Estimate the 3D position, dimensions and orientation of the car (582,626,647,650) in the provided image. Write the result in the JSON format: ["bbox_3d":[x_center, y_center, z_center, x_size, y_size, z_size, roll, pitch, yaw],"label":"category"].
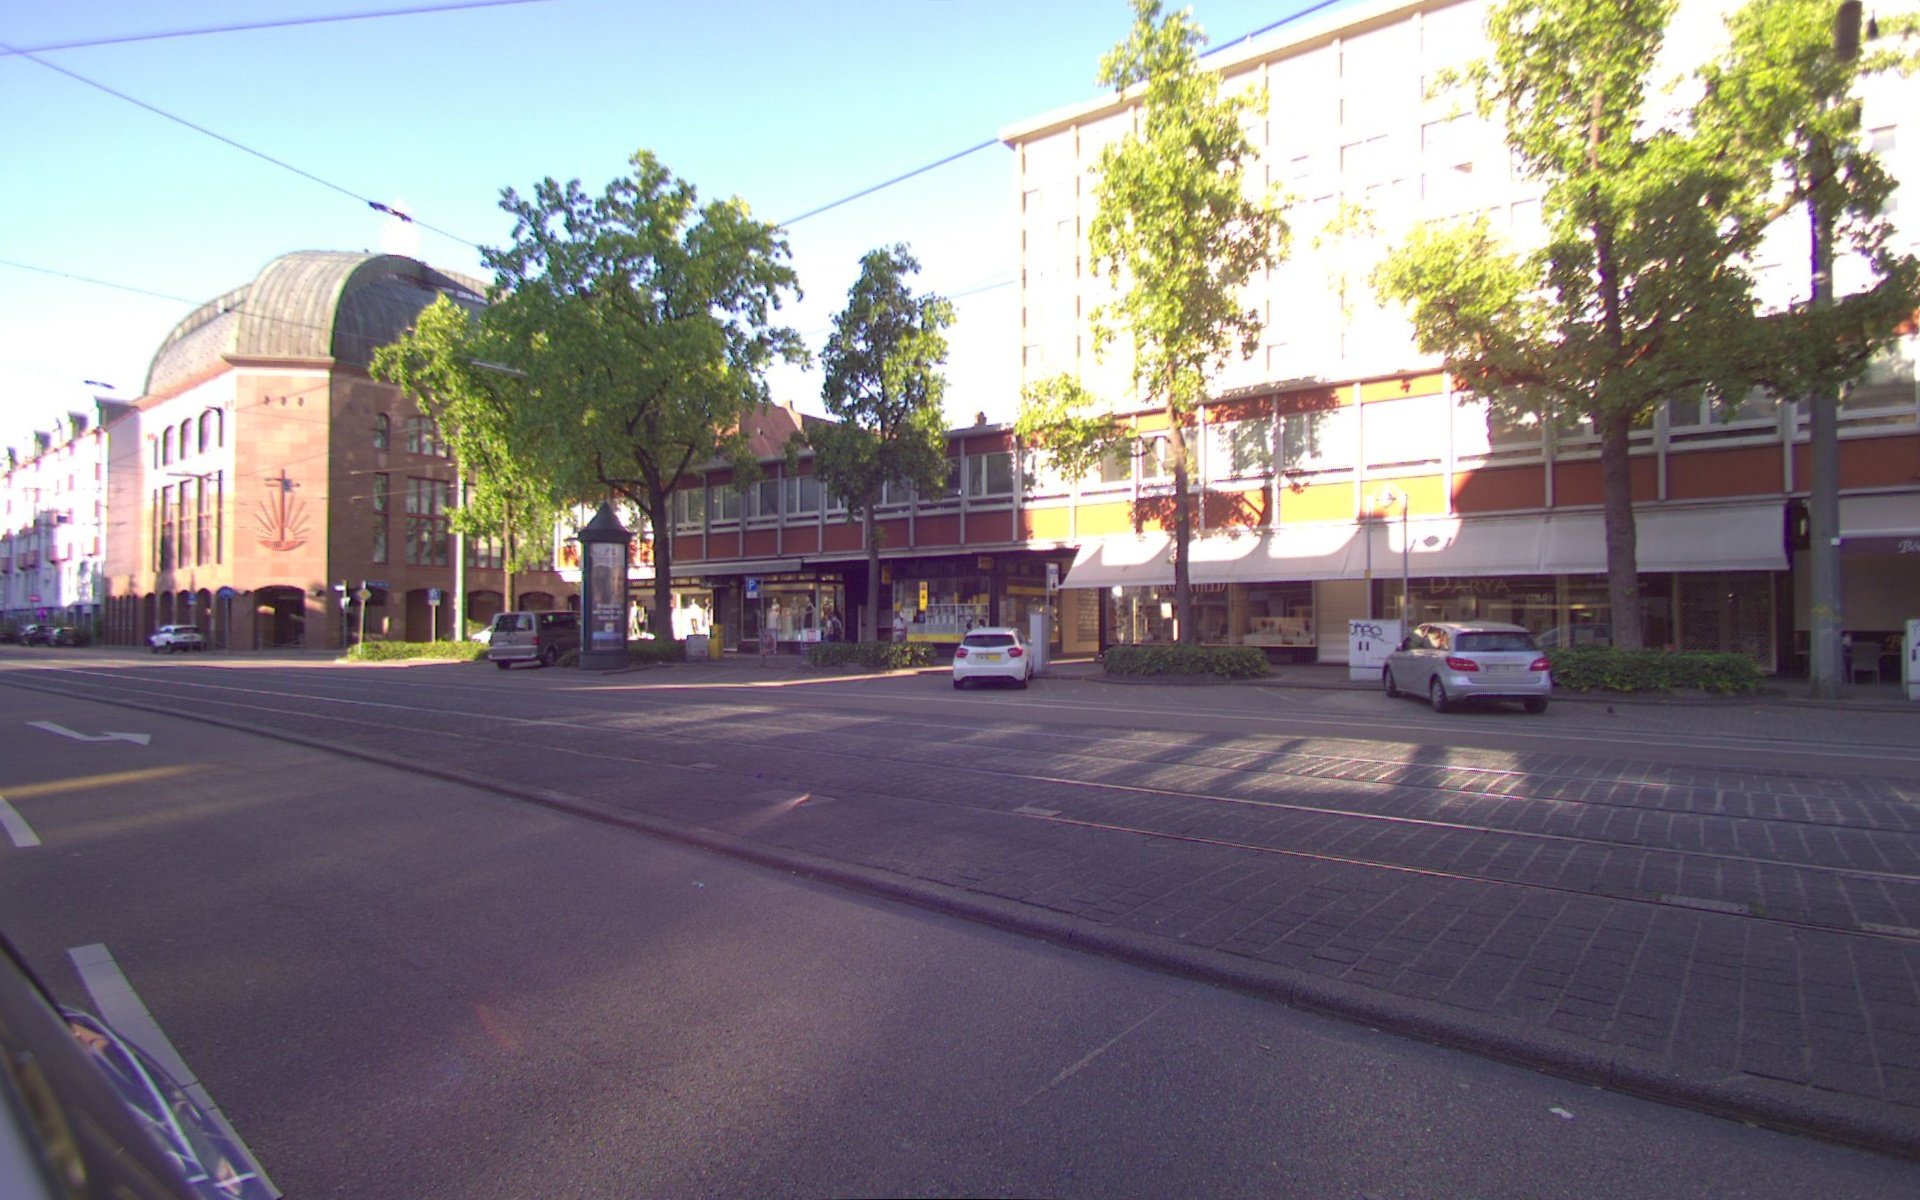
[{"bbox_3d":[-23.530,2.567,68.904,4.519,1.585,1.835,-1,-2,34],"label":"car"}]

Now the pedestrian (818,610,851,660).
[{"bbox_3d":[-4.962,1.377,40.103,0.898,1.963,0.984,-1,-2,36],"label":"pedestrian"}]

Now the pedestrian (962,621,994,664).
[{"bbox_3d":[0.633,1.465,35.185,0.898,1.481,0.681,-1,-2,36],"label":"pedestrian"}]

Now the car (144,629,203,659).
[{"bbox_3d":[-45.327,2.509,58.327,4.269,1.602,1.581,-1,0,36],"label":"car"}]

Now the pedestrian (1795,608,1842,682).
[{"bbox_3d":[18.761,0.974,22.144,0.705,1.575,0.864,-2,-2,38],"label":"pedestrian"}]

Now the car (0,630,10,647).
[{"bbox_3d":[-86.728,3.454,90.578,4.555,1.520,1.807,-1,-1,38],"label":"car"}]

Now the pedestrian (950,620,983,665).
[{"bbox_3d":[0.222,1.436,34.608,0.898,1.509,0.681,-1,-2,36],"label":"pedestrian"}]

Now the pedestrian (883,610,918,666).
[{"bbox_3d":[-2.031,1.294,34.502,0.903,1.892,0.903,1,-2,-24],"label":"pedestrian"}]

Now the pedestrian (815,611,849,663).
[{"bbox_3d":[-4.778,1.373,37.873,0.898,1.892,0.908,-1,-2,36],"label":"pedestrian"}]

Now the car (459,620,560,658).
[{"bbox_3d":[-26.057,2.222,58.719,2.128,1.982,4.934,2,0,36],"label":"car"}]

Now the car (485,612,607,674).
[{"bbox_3d":[-14.590,1.459,36.028,1.831,1.943,5.112,0,0,6],"label":"car"}]

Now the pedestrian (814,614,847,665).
[{"bbox_3d":[-4.963,1.511,38.812,0.898,1.892,0.908,-1,-2,36],"label":"pedestrian"}]

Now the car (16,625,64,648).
[{"bbox_3d":[-71.831,2.801,79.022,4.552,1.713,1.941,-1,-1,37],"label":"car"}]

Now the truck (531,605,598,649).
[{"bbox_3d":[-25.778,1.778,65.894,4.519,2.784,1.835,-1,-2,34],"label":"truck"}]

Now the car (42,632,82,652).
[{"bbox_3d":[-66.421,3.087,74.855,3.679,1.411,1.626,-1,-1,39],"label":"car"}]

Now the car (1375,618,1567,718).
[{"bbox_3d":[9.273,1.150,18.792,1.805,1.578,4.271,0,0,7],"label":"car"}]

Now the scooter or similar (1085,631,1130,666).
[{"bbox_3d":[4.724,1.540,32.448,1.335,1.102,0.470,-1,-1,36],"label":"scooter or similar"}]

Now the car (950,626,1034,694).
[{"bbox_3d":[0.887,1.426,25.343,1.745,1.440,4.261,-1,0,6],"label":"car"}]
